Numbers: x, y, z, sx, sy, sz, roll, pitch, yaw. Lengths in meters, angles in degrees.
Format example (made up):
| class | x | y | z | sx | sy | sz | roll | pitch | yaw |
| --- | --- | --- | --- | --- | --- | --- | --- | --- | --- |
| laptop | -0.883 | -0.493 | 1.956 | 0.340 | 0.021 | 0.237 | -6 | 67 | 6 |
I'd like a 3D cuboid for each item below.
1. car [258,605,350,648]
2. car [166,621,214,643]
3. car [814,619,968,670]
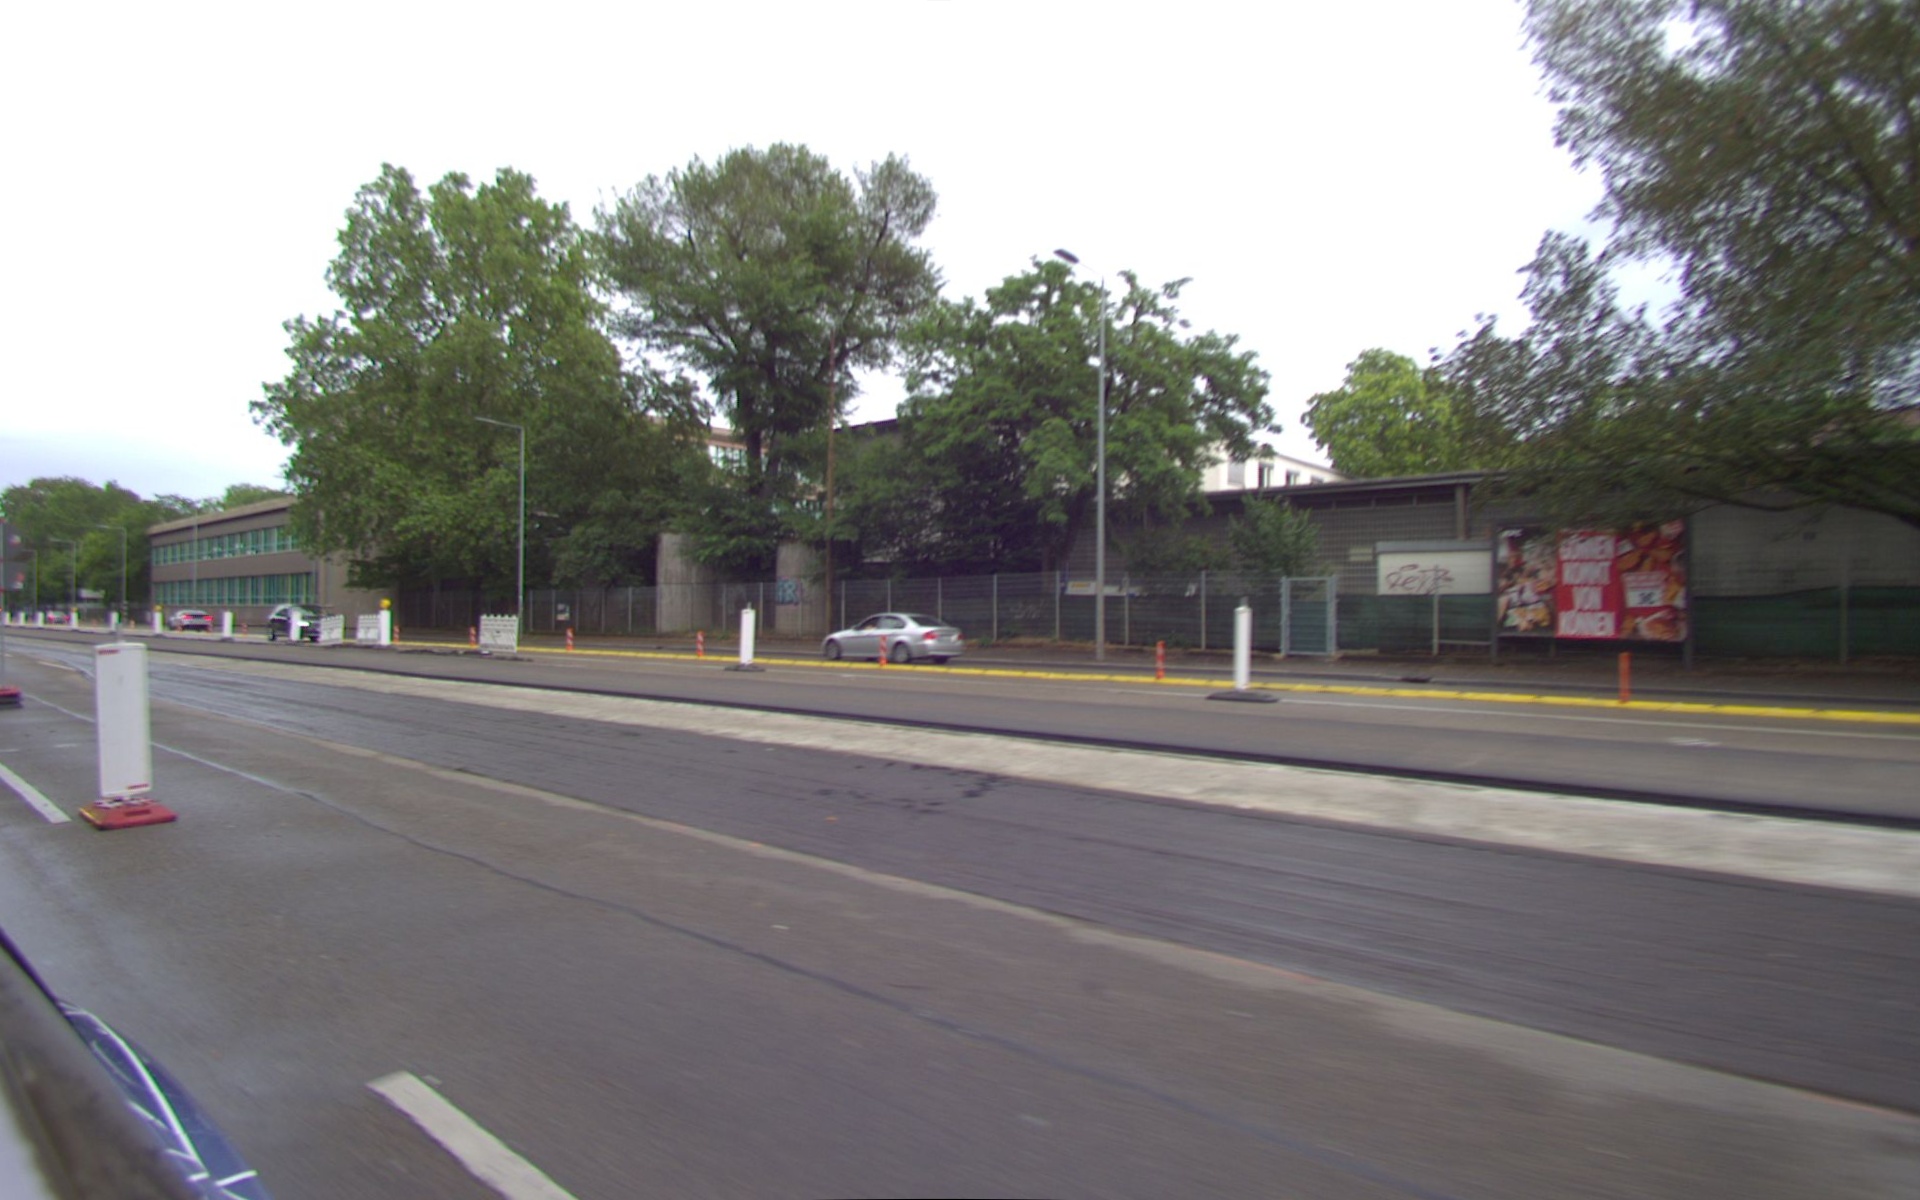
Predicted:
| class | x | y | z | sx | sy | sz | roll | pitch | yaw |
| --- | --- | --- | --- | --- | --- | --- | --- | --- | --- |
| car | -28.697 | 1.215 | 44.209 | 4.981 | 1.719 | 1.973 | -2 | -6 | 41 |
| car | -52.432 | 2.155 | 68.897 | 4.146 | 1.445 | 1.817 | -1 | -1 | 41 |
| car | -1.991 | 1.220 | 28.328 | 4.453 | 1.325 | 1.649 | -1 | -3 | 41 |
